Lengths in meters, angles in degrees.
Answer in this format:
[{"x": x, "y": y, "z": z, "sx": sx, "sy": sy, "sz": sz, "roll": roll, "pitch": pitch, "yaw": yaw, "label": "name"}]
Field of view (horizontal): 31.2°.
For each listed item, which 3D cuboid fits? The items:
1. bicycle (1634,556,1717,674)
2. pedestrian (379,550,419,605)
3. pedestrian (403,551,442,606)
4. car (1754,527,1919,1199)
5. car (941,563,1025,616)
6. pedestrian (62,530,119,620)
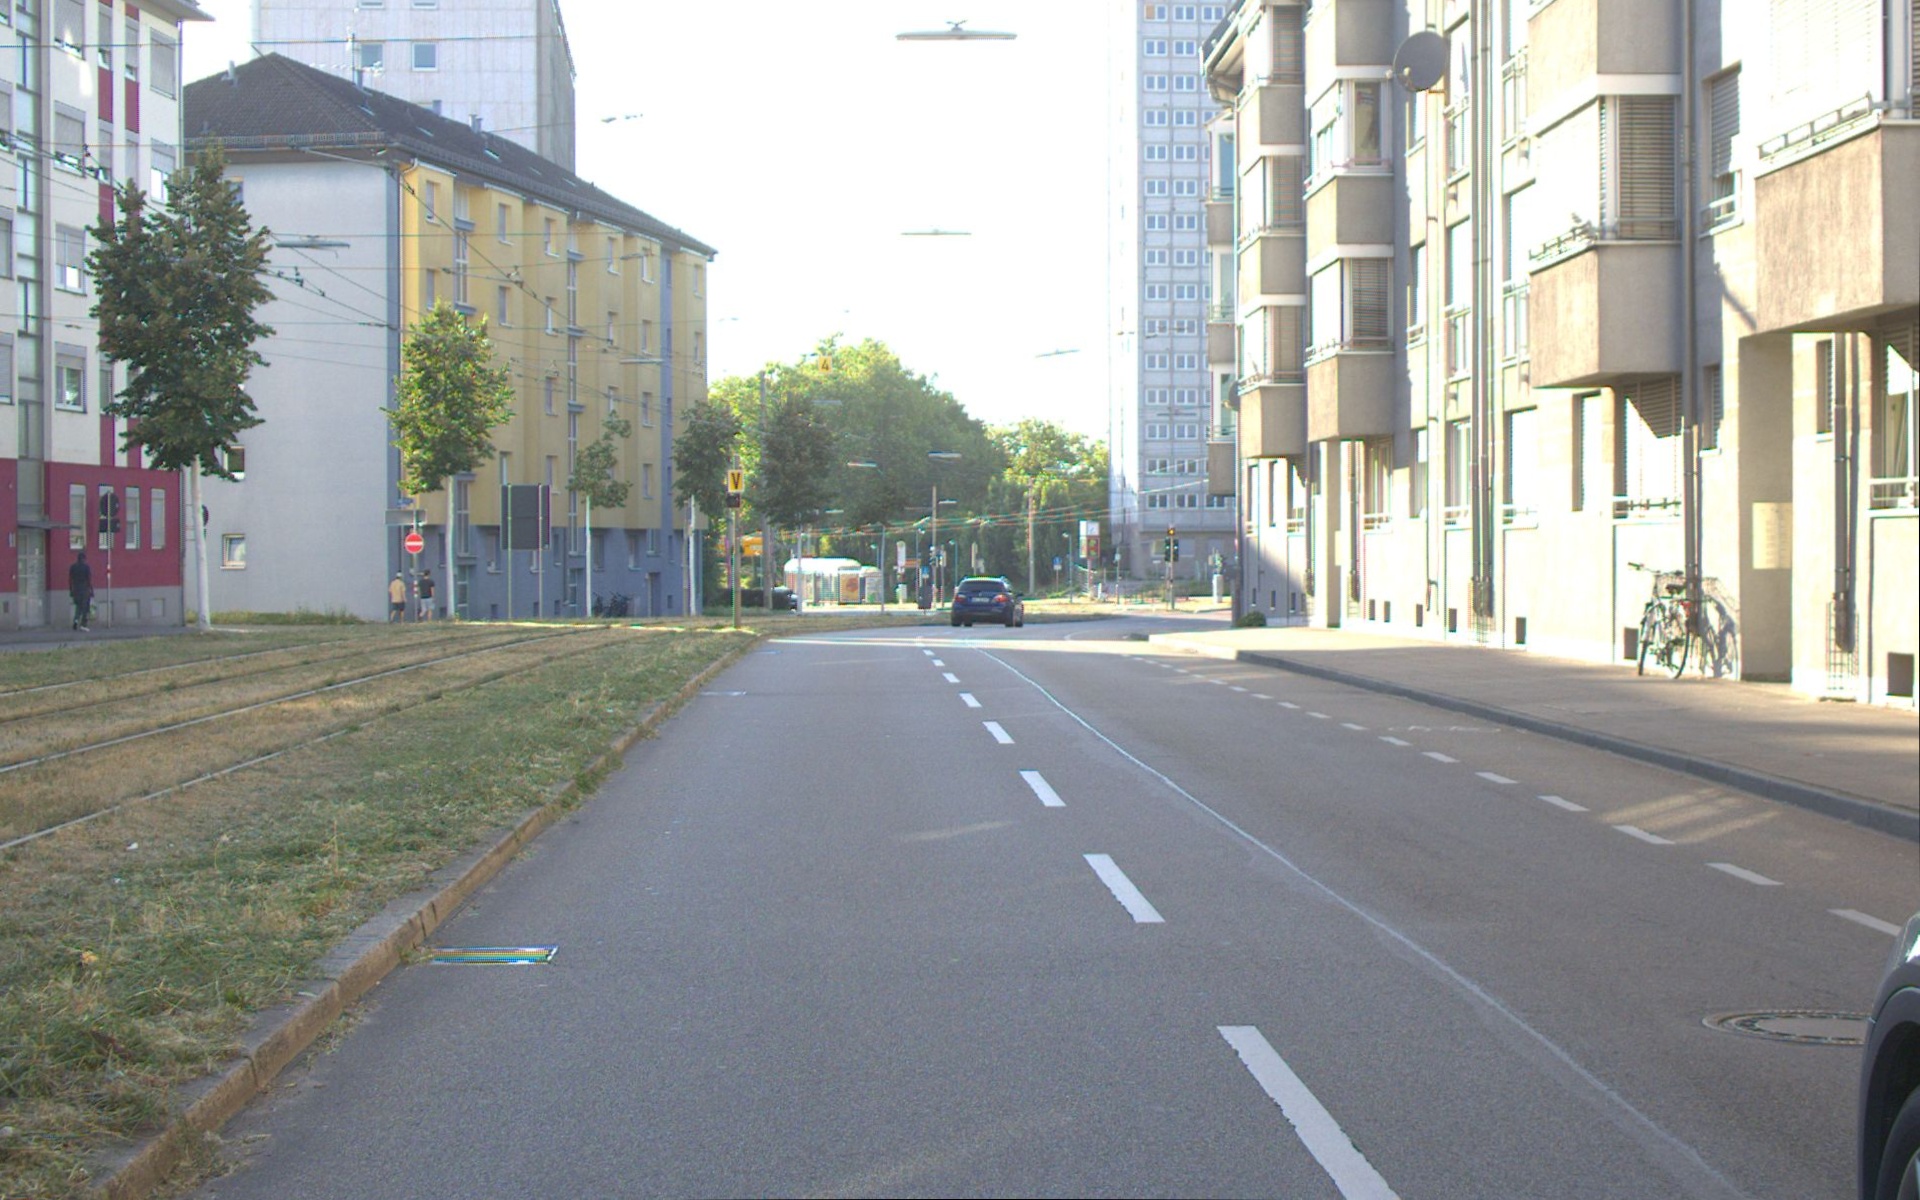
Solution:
[{"x": 6.805, "y": 0.132, "z": 32.750, "sx": 0.383, "sy": 1.092, "sz": 1.504, "roll": -1, "pitch": 0, "yaw": -3, "label": "bicycle"}, {"x": -17.372, "y": -0.687, "z": 106.447, "sx": 0.962, "sy": 1.688, "sz": 1.011, "roll": 1, "pitch": 0, "yaw": 4, "label": "pedestrian"}, {"x": -16.628, "y": -0.668, "z": 106.353, "sx": 0.962, "sy": 1.664, "sz": 1.011, "roll": 1, "pitch": 0, "yaw": 4, "label": "pedestrian"}, {"x": 2.303, "y": 0.683, "z": 3.889, "sx": 1.697, "sy": 1.547, "sz": 4.226, "roll": 1, "pitch": 0, "yaw": -2, "label": "car"}, {"x": 0.685, "y": -0.310, "z": 99.391, "sx": 1.927, "sy": 1.451, "sz": 4.326, "roll": 1, "pitch": 0, "yaw": 7, "label": "car"}, {"x": -19.832, "y": -0.561, "z": 78.458, "sx": 1.005, "sy": 2.028, "sz": 0.886, "roll": 1, "pitch": 0, "yaw": 3, "label": "pedestrian"}]
